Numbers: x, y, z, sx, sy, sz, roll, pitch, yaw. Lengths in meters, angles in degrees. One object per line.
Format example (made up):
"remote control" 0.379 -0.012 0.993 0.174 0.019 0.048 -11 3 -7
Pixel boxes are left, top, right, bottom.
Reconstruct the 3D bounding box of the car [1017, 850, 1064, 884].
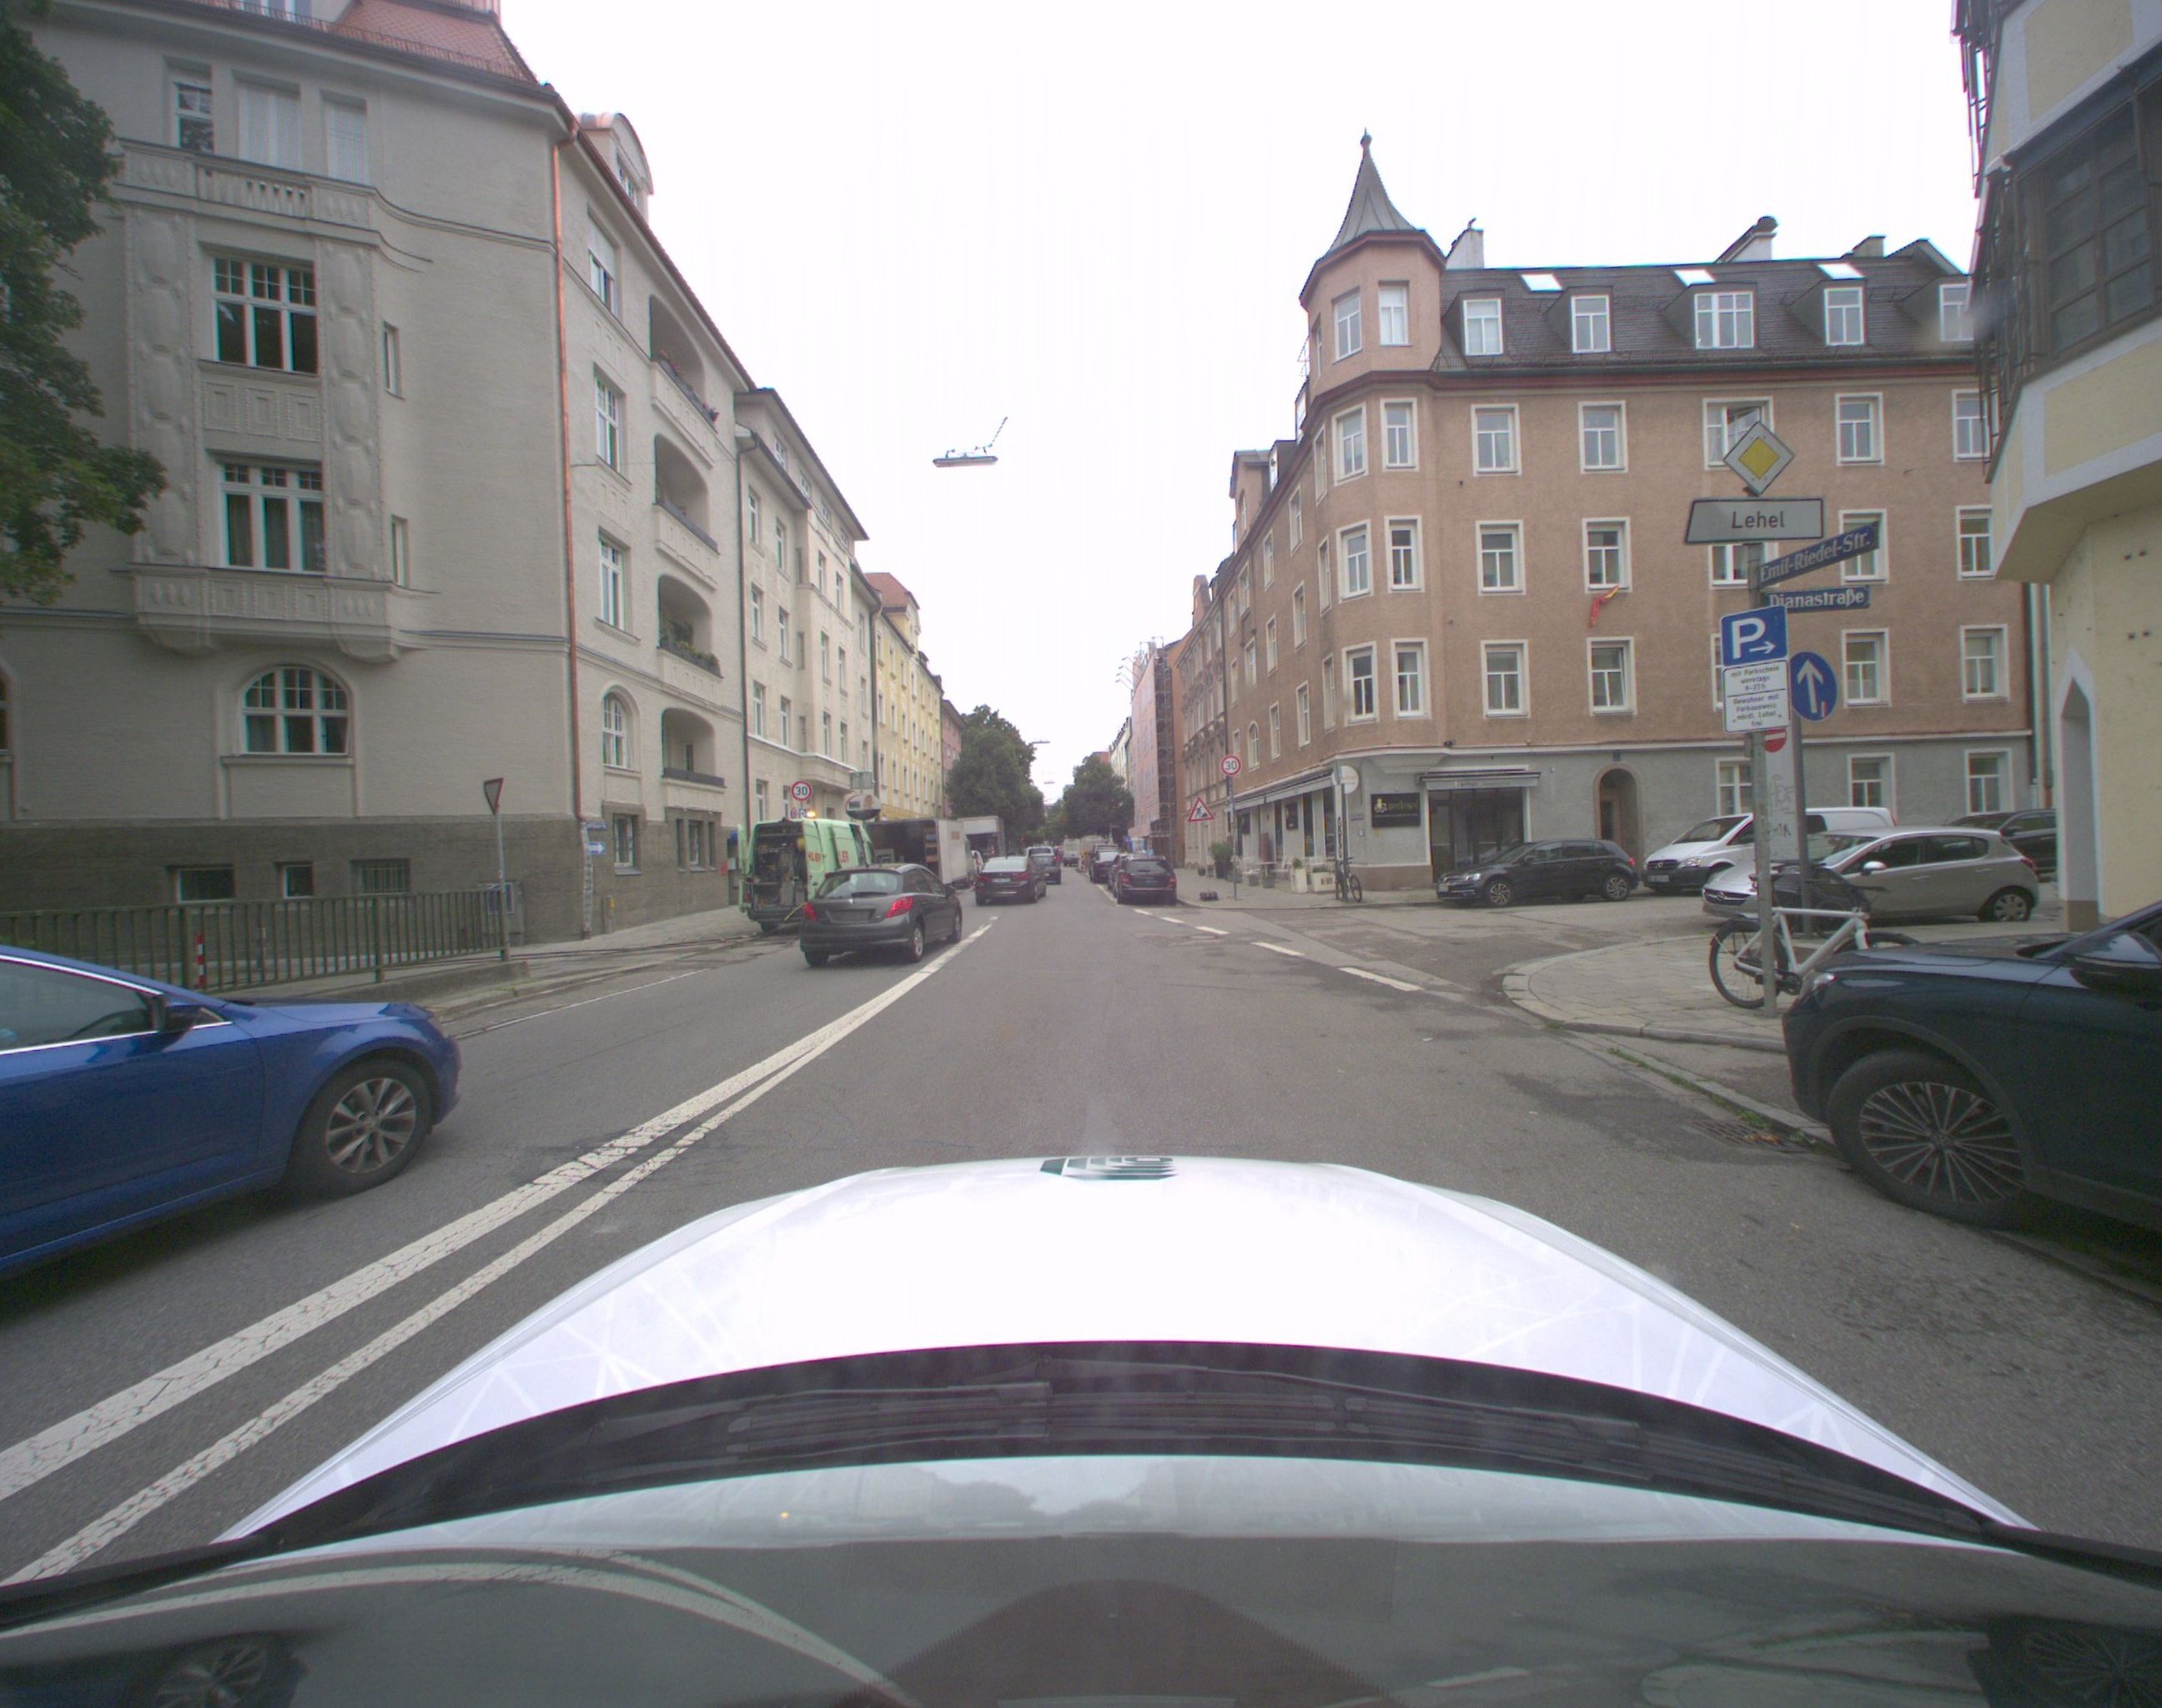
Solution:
"car" -1.888 0.573 39.226 1.984 1.429 4.140 -2 1 0

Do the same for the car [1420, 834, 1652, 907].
"car" 10.154 0.376 18.426 4.157 1.429 1.924 -2 -2 -1

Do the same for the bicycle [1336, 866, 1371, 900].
"bicycle" 6.858 0.713 20.557 0.455 0.805 1.327 -1 0 2

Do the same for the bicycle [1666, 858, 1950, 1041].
"bicycle" 5.617 0.648 6.491 0.512 1.208 1.996 -1 0 2

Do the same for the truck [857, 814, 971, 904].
"truck" -6.013 0.092 30.548 2.765 2.873 7.199 -2 1 -1

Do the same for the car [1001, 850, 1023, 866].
"car" -6.788 0.385 80.382 1.934 1.448 3.864 -1 0 -1

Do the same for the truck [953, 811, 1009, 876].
"truck" -6.473 -0.672 53.735 3.005 3.951 6.989 -1 0 -2

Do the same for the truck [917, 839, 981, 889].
"truck" -6.160 0.448 38.579 2.280 2.171 4.804 -1 0 -1

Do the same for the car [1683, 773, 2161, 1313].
"car" 4.220 0.540 2.209 1.812 1.679 4.511 -3 0 1

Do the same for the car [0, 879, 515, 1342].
"car" -4.564 0.894 2.446 1.976 1.454 4.744 -2 -1 7

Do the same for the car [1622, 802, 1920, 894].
"car" 15.809 -0.107 18.886 5.112 1.854 2.099 -2 -2 -1

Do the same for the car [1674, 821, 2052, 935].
"car" 11.635 0.314 12.328 4.022 1.456 1.747 -2 2 1

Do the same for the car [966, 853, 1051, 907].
"car" -2.218 0.756 26.265 1.982 1.429 4.910 -2 1 3

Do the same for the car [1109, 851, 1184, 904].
"car" 1.935 0.655 25.267 1.839 1.429 4.180 1 1 -2

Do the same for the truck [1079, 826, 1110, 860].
"truck" 1.160 -0.961 73.731 2.485 2.973 5.325 -1 0 -1

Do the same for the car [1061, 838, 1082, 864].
"car" -0.911 -0.297 80.641 1.933 2.480 4.783 -1 0 1

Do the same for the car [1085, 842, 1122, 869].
"car" 1.286 0.048 47.602 1.984 1.429 4.140 -2 1 0

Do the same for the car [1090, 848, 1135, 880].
"car" 1.486 0.457 39.861 1.839 1.429 4.303 1 1 -2

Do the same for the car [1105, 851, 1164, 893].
"car" 1.983 0.633 31.176 1.839 1.429 4.137 1 1 -2

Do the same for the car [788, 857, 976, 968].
"car" -3.048 0.824 13.413 1.750 1.461 4.079 -2 0 4

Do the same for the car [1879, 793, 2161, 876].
"car" 21.958 -0.413 19.010 4.594 1.687 2.099 -2 -2 -1

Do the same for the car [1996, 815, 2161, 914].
"car" 17.177 0.097 12.725 3.793 1.377 1.747 -2 2 1

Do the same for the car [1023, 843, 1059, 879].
"car" -2.467 0.387 50.994 1.984 2.075 4.140 -2 1 0

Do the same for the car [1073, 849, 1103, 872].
"car" 0.469 0.442 57.249 1.984 1.429 4.140 -2 1 0

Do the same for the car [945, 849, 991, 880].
"car" -6.341 0.570 46.094 1.984 1.610 4.139 -1 0 0

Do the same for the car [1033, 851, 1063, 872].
"car" -2.424 0.520 60.345 1.984 1.429 4.140 -2 1 0

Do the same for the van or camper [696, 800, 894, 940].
"van or camper" -6.676 0.272 20.101 2.592 2.840 6.185 -2 1 0
